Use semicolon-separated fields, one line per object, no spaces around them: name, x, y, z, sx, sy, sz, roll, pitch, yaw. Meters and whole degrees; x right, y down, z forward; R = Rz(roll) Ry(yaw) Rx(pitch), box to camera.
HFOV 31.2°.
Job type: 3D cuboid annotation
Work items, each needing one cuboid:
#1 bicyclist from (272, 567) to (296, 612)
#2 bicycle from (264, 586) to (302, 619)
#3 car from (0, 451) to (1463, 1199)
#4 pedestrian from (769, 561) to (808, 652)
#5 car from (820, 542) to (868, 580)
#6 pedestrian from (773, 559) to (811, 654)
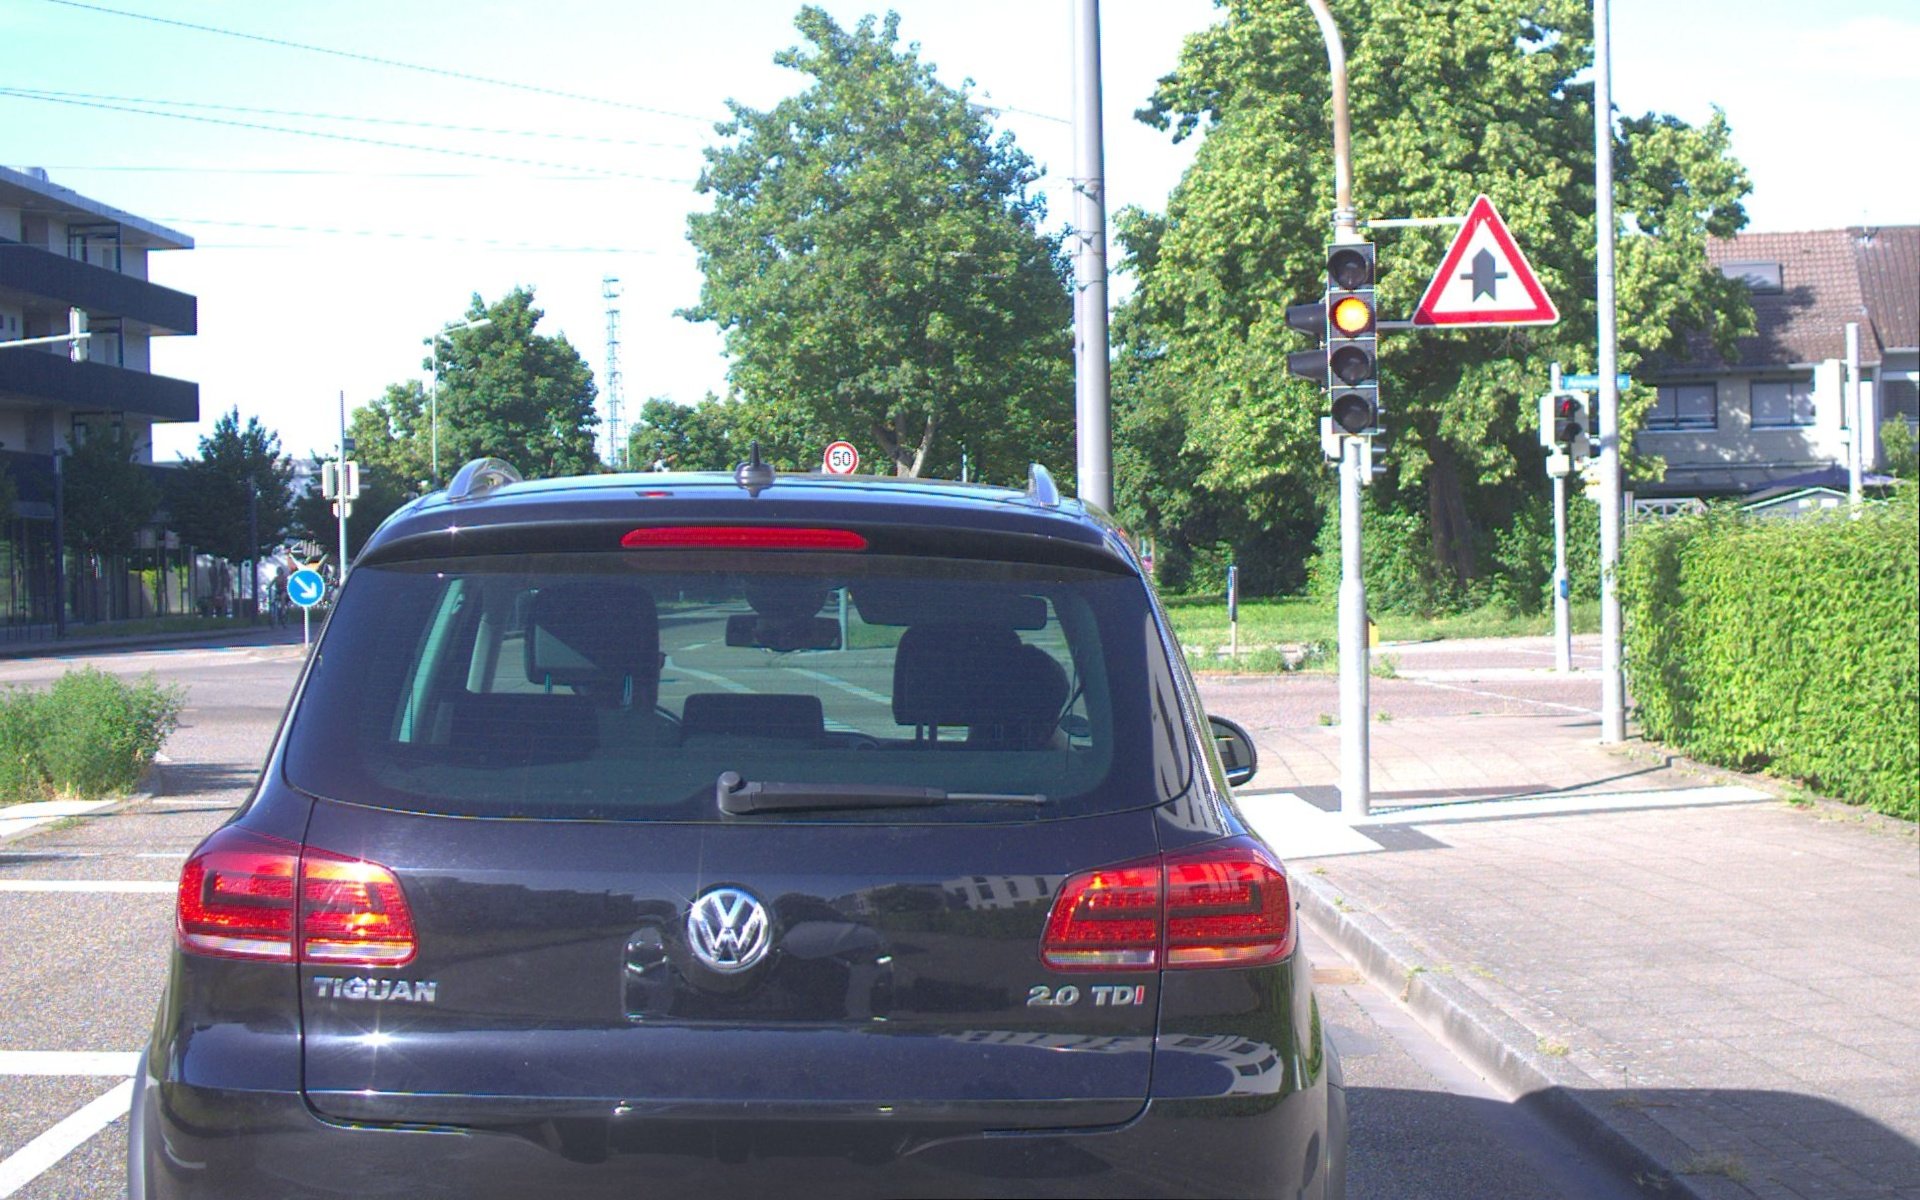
bicyclist;-18.249;-0.289;92.777;0.474;1.219;0.712;0;1;3
bicycle;-18.240;0.059;92.589;0.496;0.845;2.078;0;1;3
car;-0.363;0.595;6.488;1.905;1.637;4.000;0;1;-2
pedestrian;-2.952;0.108;59.126;0.603;1.559;0.529;0;1;4
car;-4.334;-1.480;128.805;1.751;1.382;4.000;0;1;-2
pedestrian;-2.916;0.105;59.751;0.603;1.634;0.529;0;1;4
